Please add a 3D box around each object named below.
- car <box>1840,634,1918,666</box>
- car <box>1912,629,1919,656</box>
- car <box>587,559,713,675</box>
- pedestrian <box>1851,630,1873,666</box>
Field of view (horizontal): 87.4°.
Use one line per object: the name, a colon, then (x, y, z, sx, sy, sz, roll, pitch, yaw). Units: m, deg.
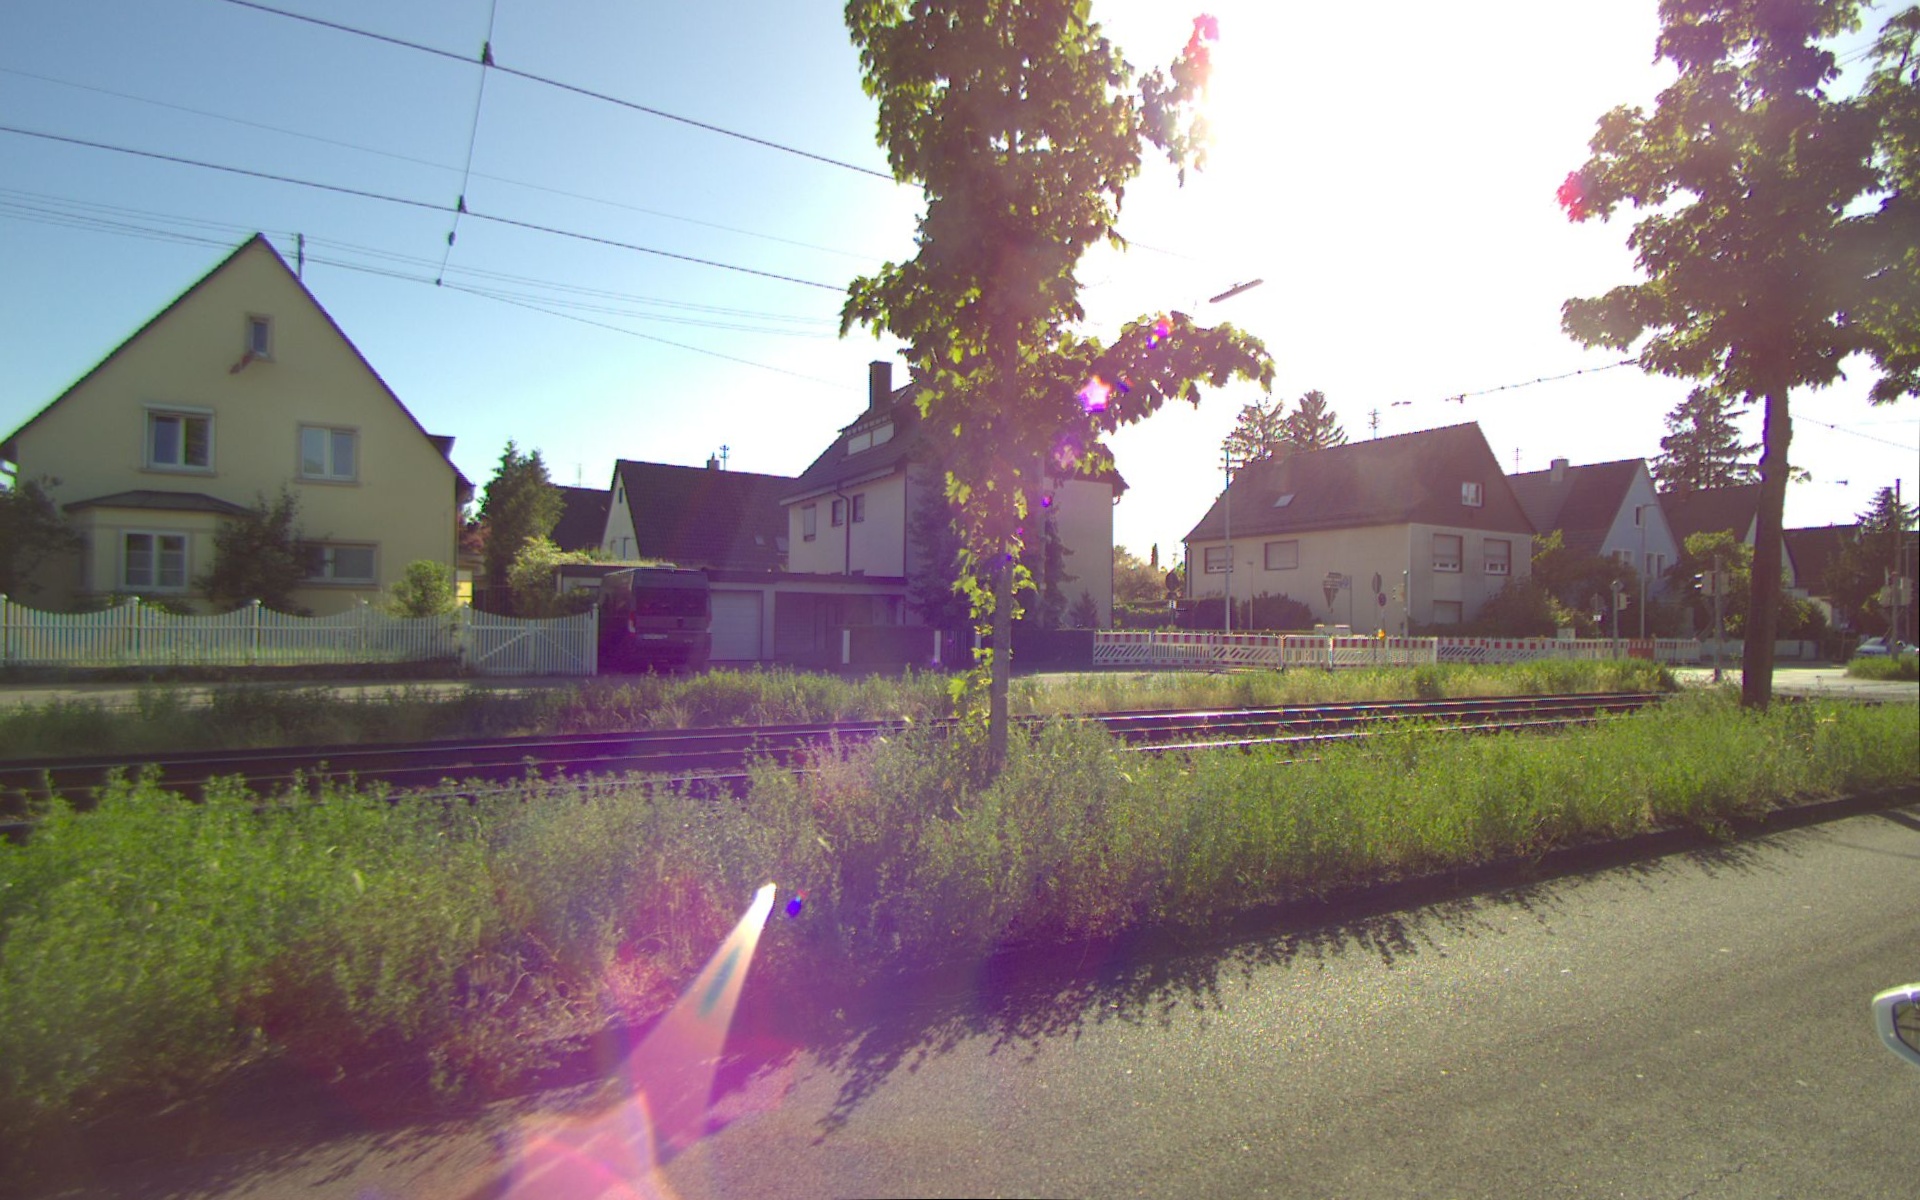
car: (48.047, 2.600, 52.499, 4.179, 1.562, 1.850, 2, 0, -31)
car: (55.628, 2.458, 56.588, 4.549, 1.485, 1.720, 2, 0, -31)
car: (-8.067, 0.416, 25.787, 2.077, 2.660, 5.006, 1, -1, -29)
pedestrian: (51.503, 2.740, 57.349, 0.763, 2.040, 0.677, 2, 0, -30)
